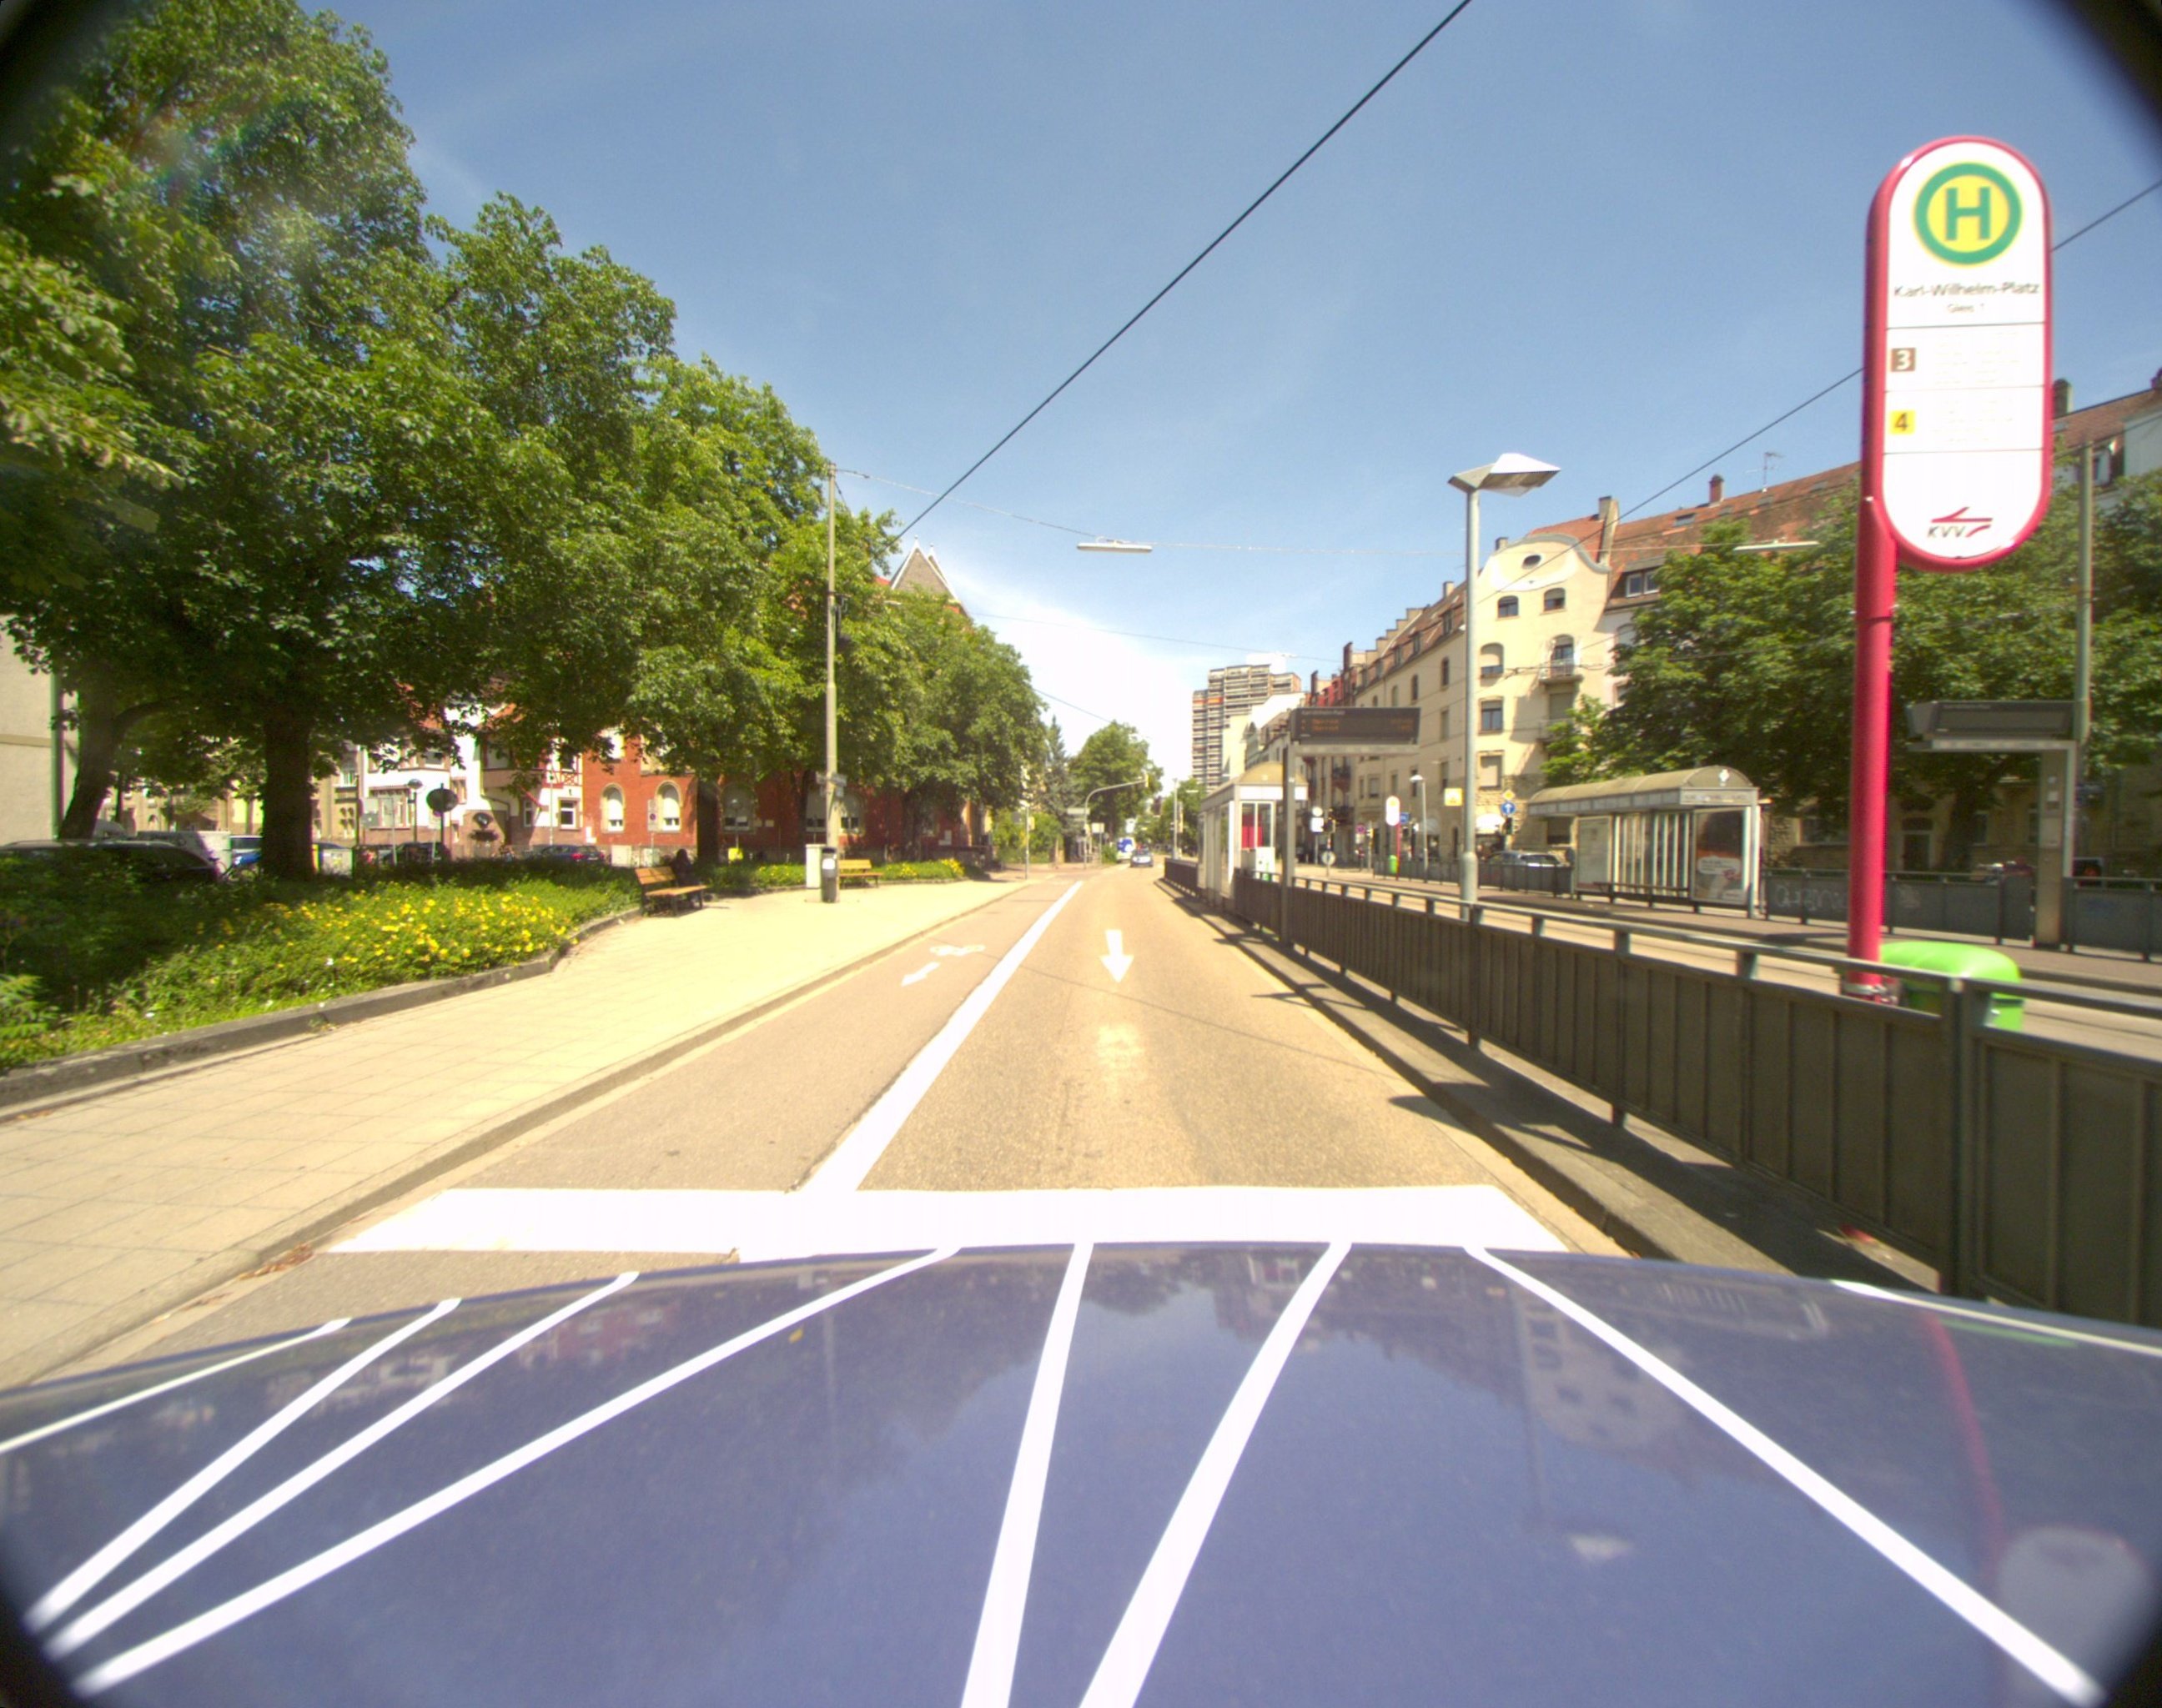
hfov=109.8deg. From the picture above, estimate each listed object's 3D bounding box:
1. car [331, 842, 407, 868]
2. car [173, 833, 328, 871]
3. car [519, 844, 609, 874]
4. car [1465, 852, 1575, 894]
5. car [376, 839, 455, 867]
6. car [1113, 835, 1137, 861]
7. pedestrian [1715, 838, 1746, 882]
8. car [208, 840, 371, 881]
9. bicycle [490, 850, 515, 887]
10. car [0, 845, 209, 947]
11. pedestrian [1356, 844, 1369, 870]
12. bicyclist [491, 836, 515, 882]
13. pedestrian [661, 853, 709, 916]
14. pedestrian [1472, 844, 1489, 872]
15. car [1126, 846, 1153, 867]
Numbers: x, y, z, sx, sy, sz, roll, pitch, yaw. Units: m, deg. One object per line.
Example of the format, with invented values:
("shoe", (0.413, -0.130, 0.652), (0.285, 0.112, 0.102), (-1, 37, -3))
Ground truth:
("car", (-43.751, 0.028, 46.709), (4.235, 1.554, 1.706), (1, 1, 21))
("car", (-36.788, -0.117, 33.809), (1.641, 1.554, 4.326), (1, 1, 23))
("car", (-26.695, 0.221, 39.253), (4.309, 1.444, 1.647), (1, 1, 21))
("car", (15.252, 0.625, 26.616), (1.697, 1.302, 3.848), (0, 1, 2))
("car", (-39.086, -0.079, 44.618), (4.235, 1.554, 1.706), (1, 1, 21))
("car", (4.440, -0.676, 77.428), (2.236, 2.478, 5.265), (1, 2, 0))
("pedestrian", (21.325, 0.186, 24.948), (0.537, 1.433, 0.520), (0, 1, -8))
("car", (-32.308, 0.205, 31.193), (1.641, 1.554, 4.326), (1, 1, 23))
("bicycle", (-20.868, 0.498, 27.432), (0.641, 1.285, 1.926), (-1, 1, -35))
("car", (-17.398, 0.631, 12.503), (1.614, 1.554, 4.064), (0, 1, -6))
("pedestrian", (19.045, 0.177, 51.415), (0.808, 1.710, 0.764), (1, 1, 17))
("bicyclist", (-20.874, 0.167, 27.432), (0.641, 1.614, 0.860), (-1, 2, -35))
("pedestrian", (-7.443, 0.557, 14.299), (0.652, 1.143, 0.642), (0, 1, -14))
("pedestrian", (20.926, 0.190, 39.784), (0.537, 1.433, 0.520), (0, 1, -7))
("car", (4.553, 0.176, 59.464), (1.737, 1.543, 4.423), (1, 1, 0))
